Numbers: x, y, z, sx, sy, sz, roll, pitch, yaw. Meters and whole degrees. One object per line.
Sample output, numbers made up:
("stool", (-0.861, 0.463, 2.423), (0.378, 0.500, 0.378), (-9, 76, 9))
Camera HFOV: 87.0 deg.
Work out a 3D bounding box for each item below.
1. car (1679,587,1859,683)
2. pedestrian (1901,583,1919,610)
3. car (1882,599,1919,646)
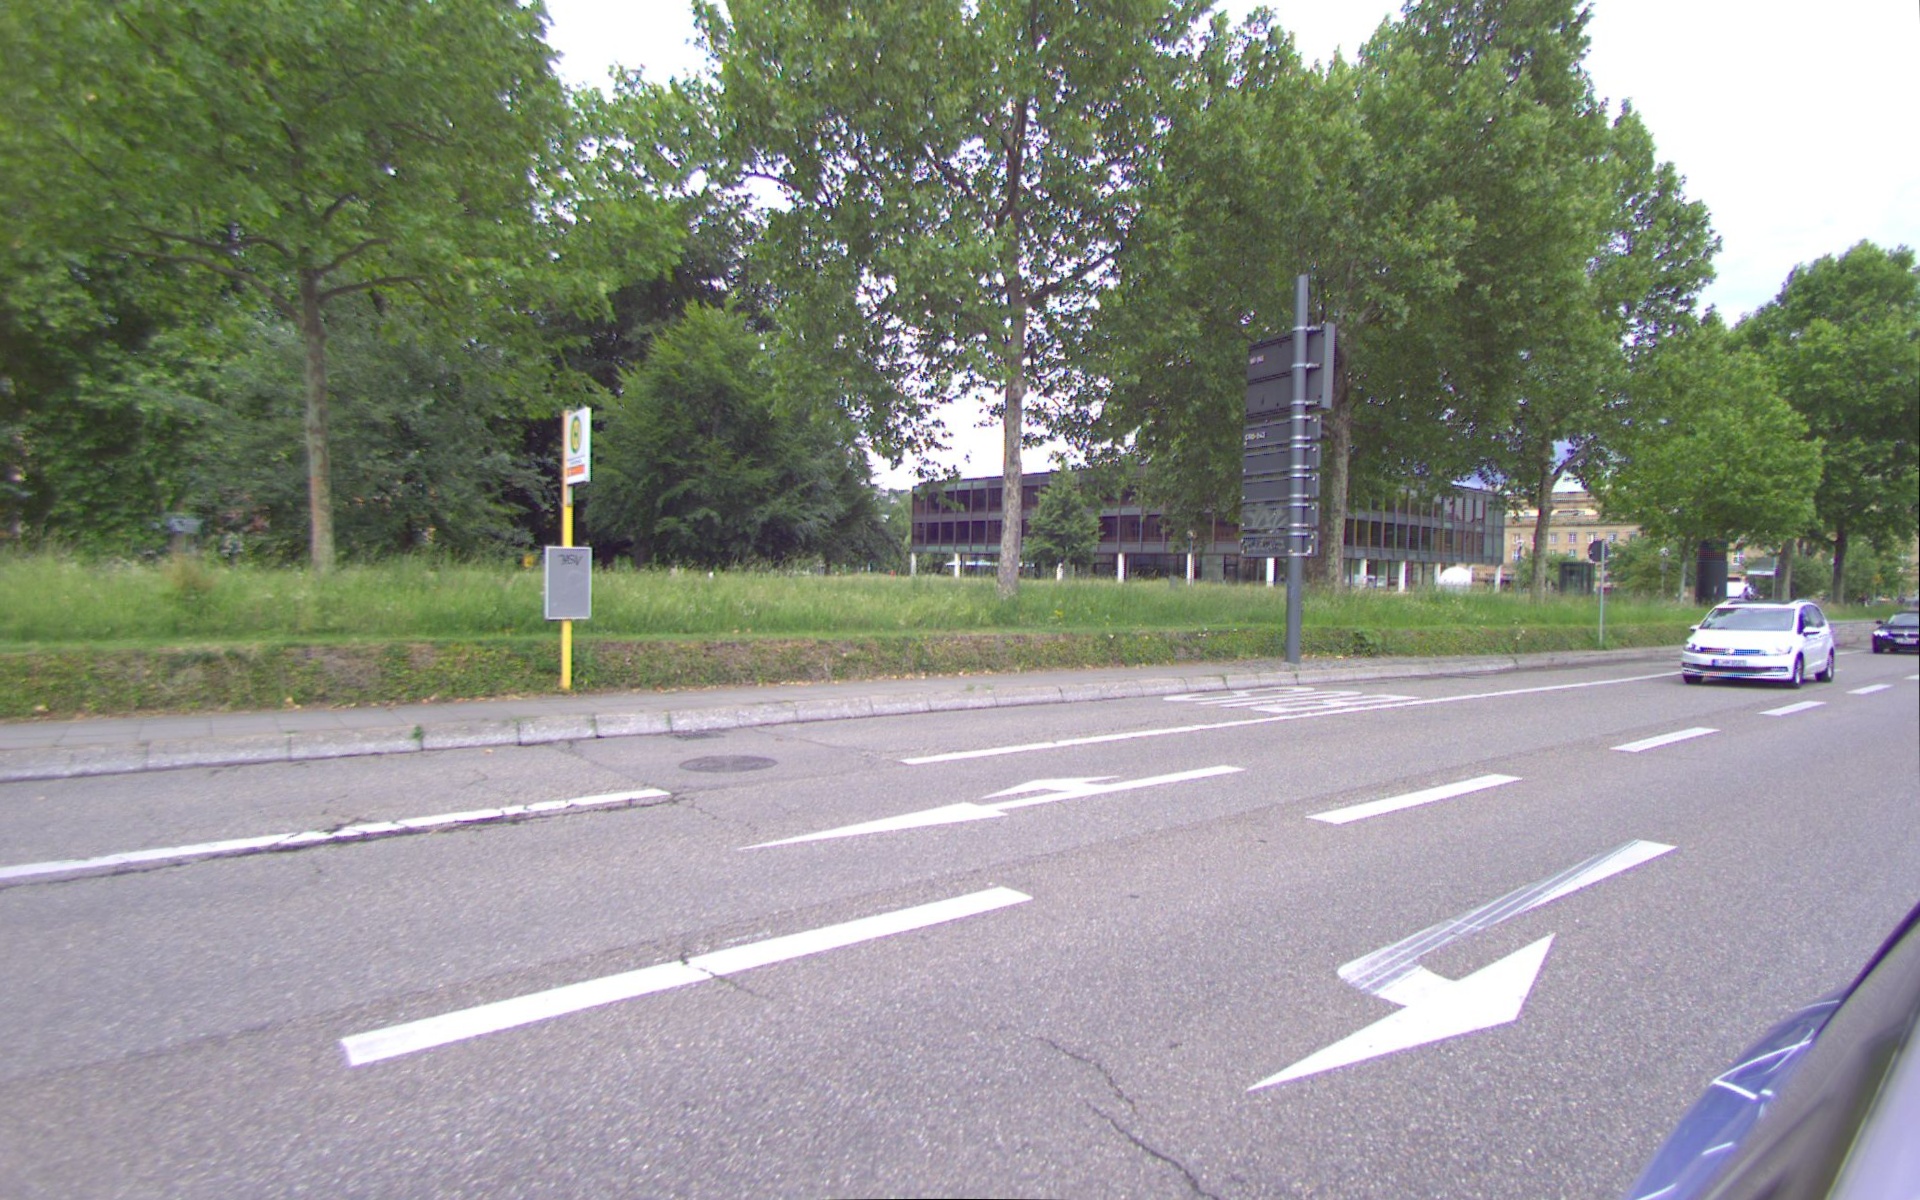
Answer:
("car", (16.047, 0.604, 20.014), (4.228, 1.660, 1.998), (0, 1, -40))
("pedestrian", (71.828, -0.275, 76.440), (1.160, 2.039, 0.891), (0, 0, -39))
("car", (32.393, 0.718, 33.615), (4.444, 1.478, 1.936), (0, 0, -38))
